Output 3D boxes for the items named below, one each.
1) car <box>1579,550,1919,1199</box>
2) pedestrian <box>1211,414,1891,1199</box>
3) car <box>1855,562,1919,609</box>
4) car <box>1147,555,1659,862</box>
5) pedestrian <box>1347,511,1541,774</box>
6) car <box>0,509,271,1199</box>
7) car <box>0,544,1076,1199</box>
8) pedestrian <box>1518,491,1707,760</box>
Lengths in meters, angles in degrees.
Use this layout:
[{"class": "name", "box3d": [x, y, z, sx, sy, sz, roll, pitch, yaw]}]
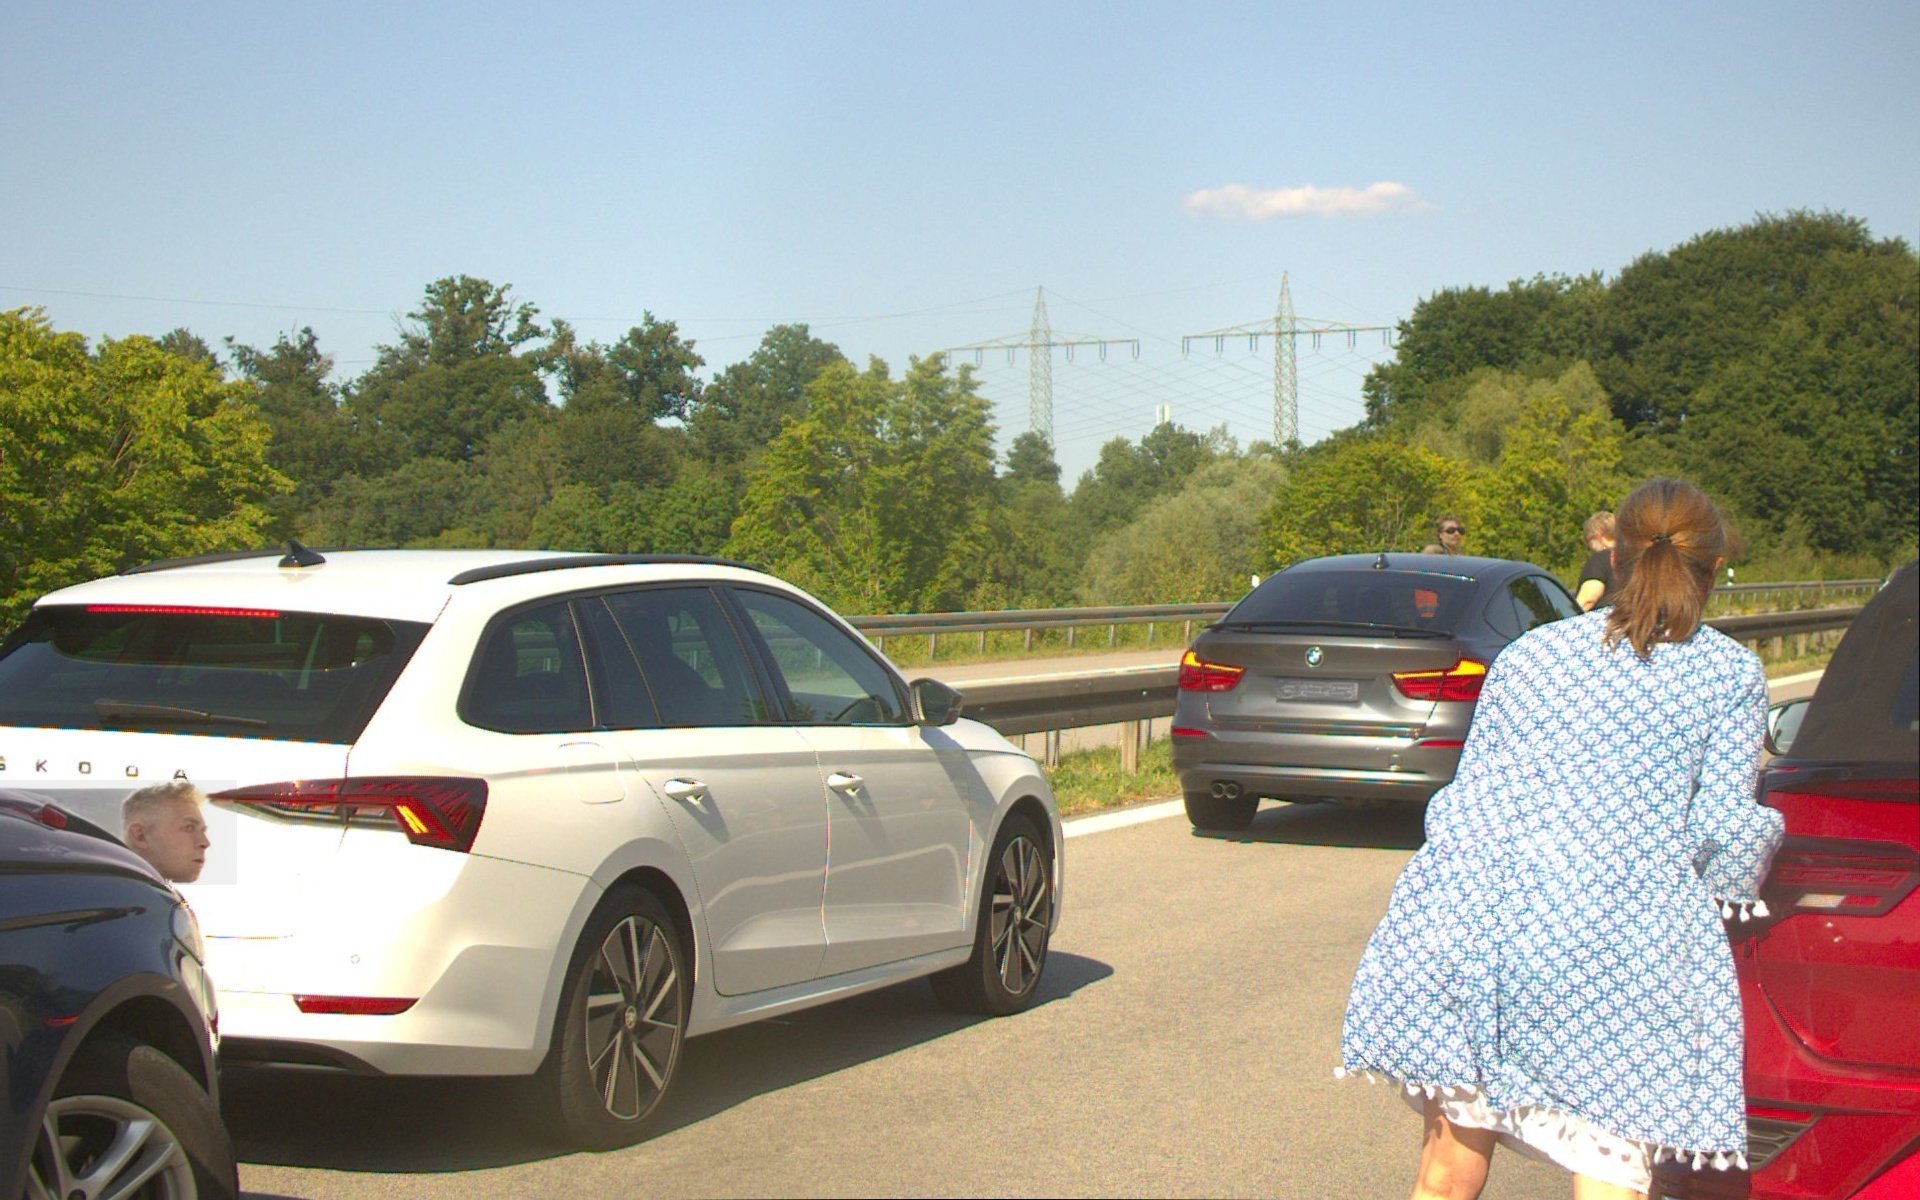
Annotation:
[{"class": "car", "box3d": [2.525, 0.662, 6.820, 1.734, 1.482, 4.205, 2, 1, 22]}, {"class": "pedestrian", "box3d": [0.919, 0.576, 5.266, 0.840, 1.677, 0.742, 0, 1, 27]}, {"class": "car", "box3d": [30.154, -0.485, 111.059, 1.697, 1.421, 4.299, 2, 1, 24]}, {"class": "car", "box3d": [2.526, 0.485, 18.636, 1.696, 1.421, 4.329, 2, 1, 22]}, {"class": "pedestrian", "box3d": [3.346, 0.278, 23.696, 1.042, 1.757, 1.117, 0, 1, 25]}, {"class": "car", "box3d": [-2.645, 0.619, 4.342, 1.789, 1.488, 4.490, 0, 1, 13]}, {"class": "car", "box3d": [-1.203, 0.583, 9.592, 1.696, 1.436, 4.205, 2, 1, 22]}, {"class": "pedestrian", "box3d": [4.703, 0.169, 24.731, 1.067, 1.876, 1.092, 0, 1, 28]}]
